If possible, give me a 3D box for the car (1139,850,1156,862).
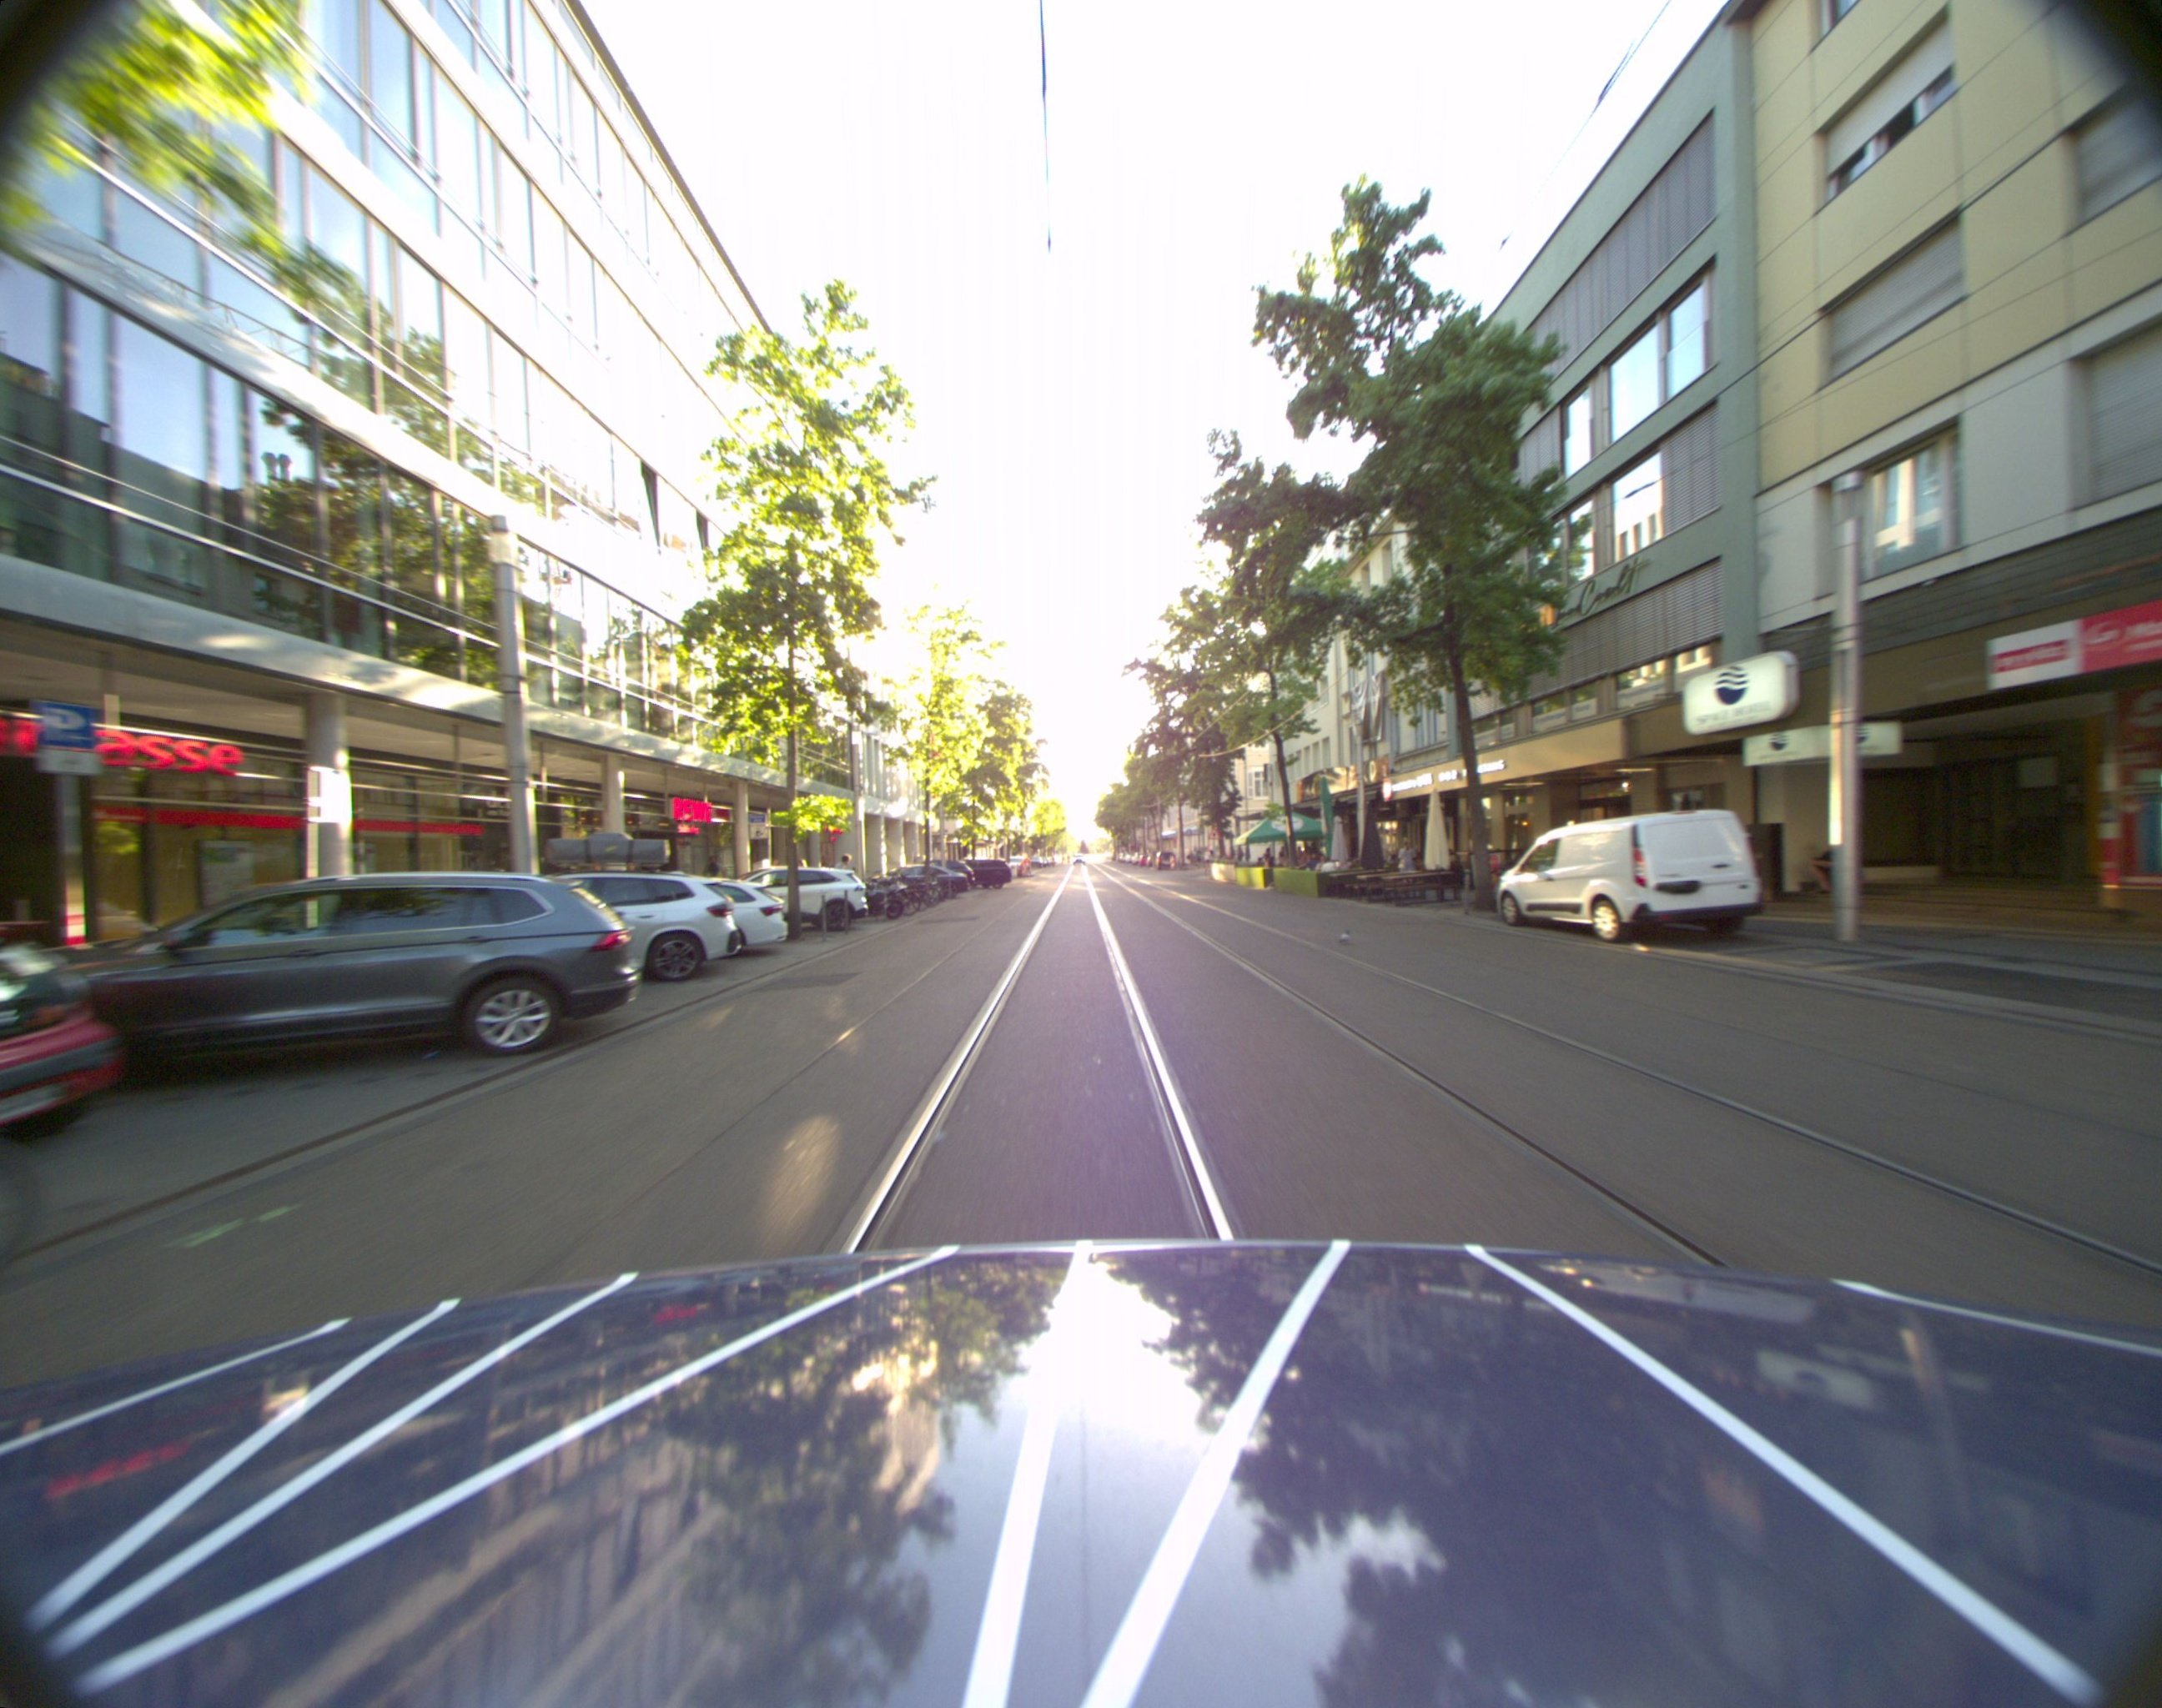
[{"bbox_3d":[8.460,0.254,96.750,1.664,1.397,4.140,-5,0,1],"label":"car"}]

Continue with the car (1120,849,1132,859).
[{"bbox_3d":[8.552,0.061,144.319,1.952,1.731,4.765,-5,0,0],"label":"car"}]

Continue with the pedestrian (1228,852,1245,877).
[{"bbox_3d":[8.916,0.583,43.605,0.691,1.378,0.807,-4,1,1],"label":"pedestrian"}]

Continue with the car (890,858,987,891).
[{"bbox_3d":[-7.497,1.041,39.843,4.673,1.645,2.004,0,0,-24],"label":"car"}]

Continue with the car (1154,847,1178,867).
[{"bbox_3d":[8.299,0.301,74.475,1.862,1.821,4.559,-3,0,1],"label":"car"}]

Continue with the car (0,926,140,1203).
[{"bbox_3d":[-7.697,1.216,3.779,3.402,1.472,1.664,0,0,-19],"label":"car"}]

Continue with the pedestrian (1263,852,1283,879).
[{"bbox_3d":[9.204,0.542,36.479,0.709,1.252,0.869,-4,1,2],"label":"pedestrian"}]

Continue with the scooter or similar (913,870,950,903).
[{"bbox_3d":[-5.898,1.271,30.000,1.309,1.269,0.563,1,1,-31],"label":"scooter or similar"}]

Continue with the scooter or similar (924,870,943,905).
[{"bbox_3d":[-5.622,1.273,29.044,0.452,1.269,1.306,2,1,-1],"label":"scooter or similar"}]

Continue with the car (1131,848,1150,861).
[{"bbox_3d":[8.299,0.074,106.747,1.870,1.679,4.949,-5,0,-3],"label":"car"}]

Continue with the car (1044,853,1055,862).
[{"bbox_3d":[-5.854,0.654,142.546,1.798,1.502,3.985,1,0,0],"label":"car"}]

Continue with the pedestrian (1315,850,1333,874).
[{"bbox_3d":[12.006,0.383,37.493,0.603,1.167,0.687,-4,1,1],"label":"pedestrian"}]

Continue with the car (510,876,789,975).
[{"bbox_3d":[-7.560,1.192,13.761,4.165,1.490,1.685,0,0,-24],"label":"car"}]

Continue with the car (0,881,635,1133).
[{"bbox_3d":[-6.580,1.130,6.883,4.364,1.642,1.690,0,0,-31],"label":"car"}]

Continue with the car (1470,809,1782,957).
[{"bbox_3d":[8.479,0.387,12.480,1.800,1.854,4.553,-5,0,1],"label":"car"}]

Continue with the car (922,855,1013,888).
[{"bbox_3d":[-6.442,0.971,43.163,4.674,1.753,1.990,0,0,-29],"label":"car"}]

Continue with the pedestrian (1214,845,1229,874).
[{"bbox_3d":[8.883,0.329,48.123,0.758,1.781,0.687,-4,1,4],"label":"pedestrian"}]

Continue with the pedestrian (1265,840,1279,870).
[{"bbox_3d":[11.989,0.042,47.706,0.685,1.805,0.765,-4,1,15],"label":"pedestrian"}]

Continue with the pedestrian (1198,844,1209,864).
[{"bbox_3d":[11.255,-0.010,70.061,0.721,1.802,0.876,-5,1,0],"label":"pedestrian"}]

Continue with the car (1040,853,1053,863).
[{"bbox_3d":[-5.671,0.707,125.358,1.770,1.502,4.286,-2,0,1],"label":"car"}]

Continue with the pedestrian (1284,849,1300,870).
[{"bbox_3d":[12.648,0.322,45.558,0.646,1.262,0.738,-4,1,1],"label":"pedestrian"}]

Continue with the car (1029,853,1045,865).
[{"bbox_3d":[-6.191,0.700,107.598,1.985,1.679,4.873,1,0,0],"label":"car"}]

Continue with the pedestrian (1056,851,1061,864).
[{"bbox_3d":[-3.428,0.556,114.013,0.705,1.858,0.792,-2,1,-2],"label":"pedestrian"}]

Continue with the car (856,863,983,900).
[{"bbox_3d":[-7.011,1.144,33.301,5.071,1.460,1.972,1,0,-36],"label":"car"}]

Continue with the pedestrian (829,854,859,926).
[{"bbox_3d":[-6.410,0.967,20.586,0.584,1.908,0.663,0,1,2],"label":"pedestrian"}]

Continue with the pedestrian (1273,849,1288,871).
[{"bbox_3d":[11.987,0.364,45.636,0.628,1.274,0.727,-4,1,1],"label":"pedestrian"}]

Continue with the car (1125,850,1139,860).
[{"bbox_3d":[8.413,0.219,124.860,1.897,1.458,4.616,-5,0,1],"label":"car"}]

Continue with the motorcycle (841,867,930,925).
[{"bbox_3d":[-5.547,1.159,21.646,2.324,1.501,0.856,0,1,-43],"label":"motorcycle"}]

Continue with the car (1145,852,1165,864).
[{"bbox_3d":[8.579,0.458,87.956,1.722,1.238,4.507,-5,0,0],"label":"car"}]

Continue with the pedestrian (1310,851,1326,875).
[{"bbox_3d":[12.008,0.448,38.486,0.554,1.155,0.687,-4,1,1],"label":"pedestrian"}]

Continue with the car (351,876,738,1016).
[{"bbox_3d":[-7.420,1.156,11.034,4.256,1.578,1.879,0,0,-31],"label":"car"}]

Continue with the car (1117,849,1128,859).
[{"bbox_3d":[8.730,-0.056,159.193,1.932,1.946,4.765,-1,0,0],"label":"car"}]

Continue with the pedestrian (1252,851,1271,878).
[{"bbox_3d":[9.188,0.543,38.704,0.691,1.304,0.807,-4,1,1],"label":"pedestrian"}]

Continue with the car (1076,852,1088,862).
[{"bbox_3d":[0.172,0.508,126.236,1.827,1.603,3.796,-2,0,0],"label":"car"}]

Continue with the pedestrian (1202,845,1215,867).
[{"bbox_3d":[10.488,0.157,62.341,0.776,1.782,0.984,-4,1,1],"label":"pedestrian"}]

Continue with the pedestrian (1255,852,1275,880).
[{"bbox_3d":[9.156,0.573,37.829,0.709,1.339,0.781,-4,1,2],"label":"pedestrian"}]

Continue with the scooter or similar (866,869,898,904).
[{"bbox_3d":[-7.767,1.255,29.623,0.633,1.286,1.676,0,0,-37],"label":"scooter or similar"}]

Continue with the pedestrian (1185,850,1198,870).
[{"bbox_3d":[10.174,0.562,70.006,0.867,1.771,0.884,-5,1,0],"label":"pedestrian"}]

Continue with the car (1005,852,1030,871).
[{"bbox_3d":[-5.964,0.652,71.922,2.028,1.727,4.906,1,0,-2],"label":"car"}]

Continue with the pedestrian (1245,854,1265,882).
[{"bbox_3d":[8.373,0.671,36.544,0.709,1.252,0.772,-4,1,2],"label":"pedestrian"}]

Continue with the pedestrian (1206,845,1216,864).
[{"bbox_3d":[11.740,0.028,68.503,0.709,1.646,0.967,-2,0,1],"label":"pedestrian"}]

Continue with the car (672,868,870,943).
[{"bbox_3d":[-7.460,1.151,18.390,4.167,1.562,1.849,0,0,-33],"label":"car"}]
